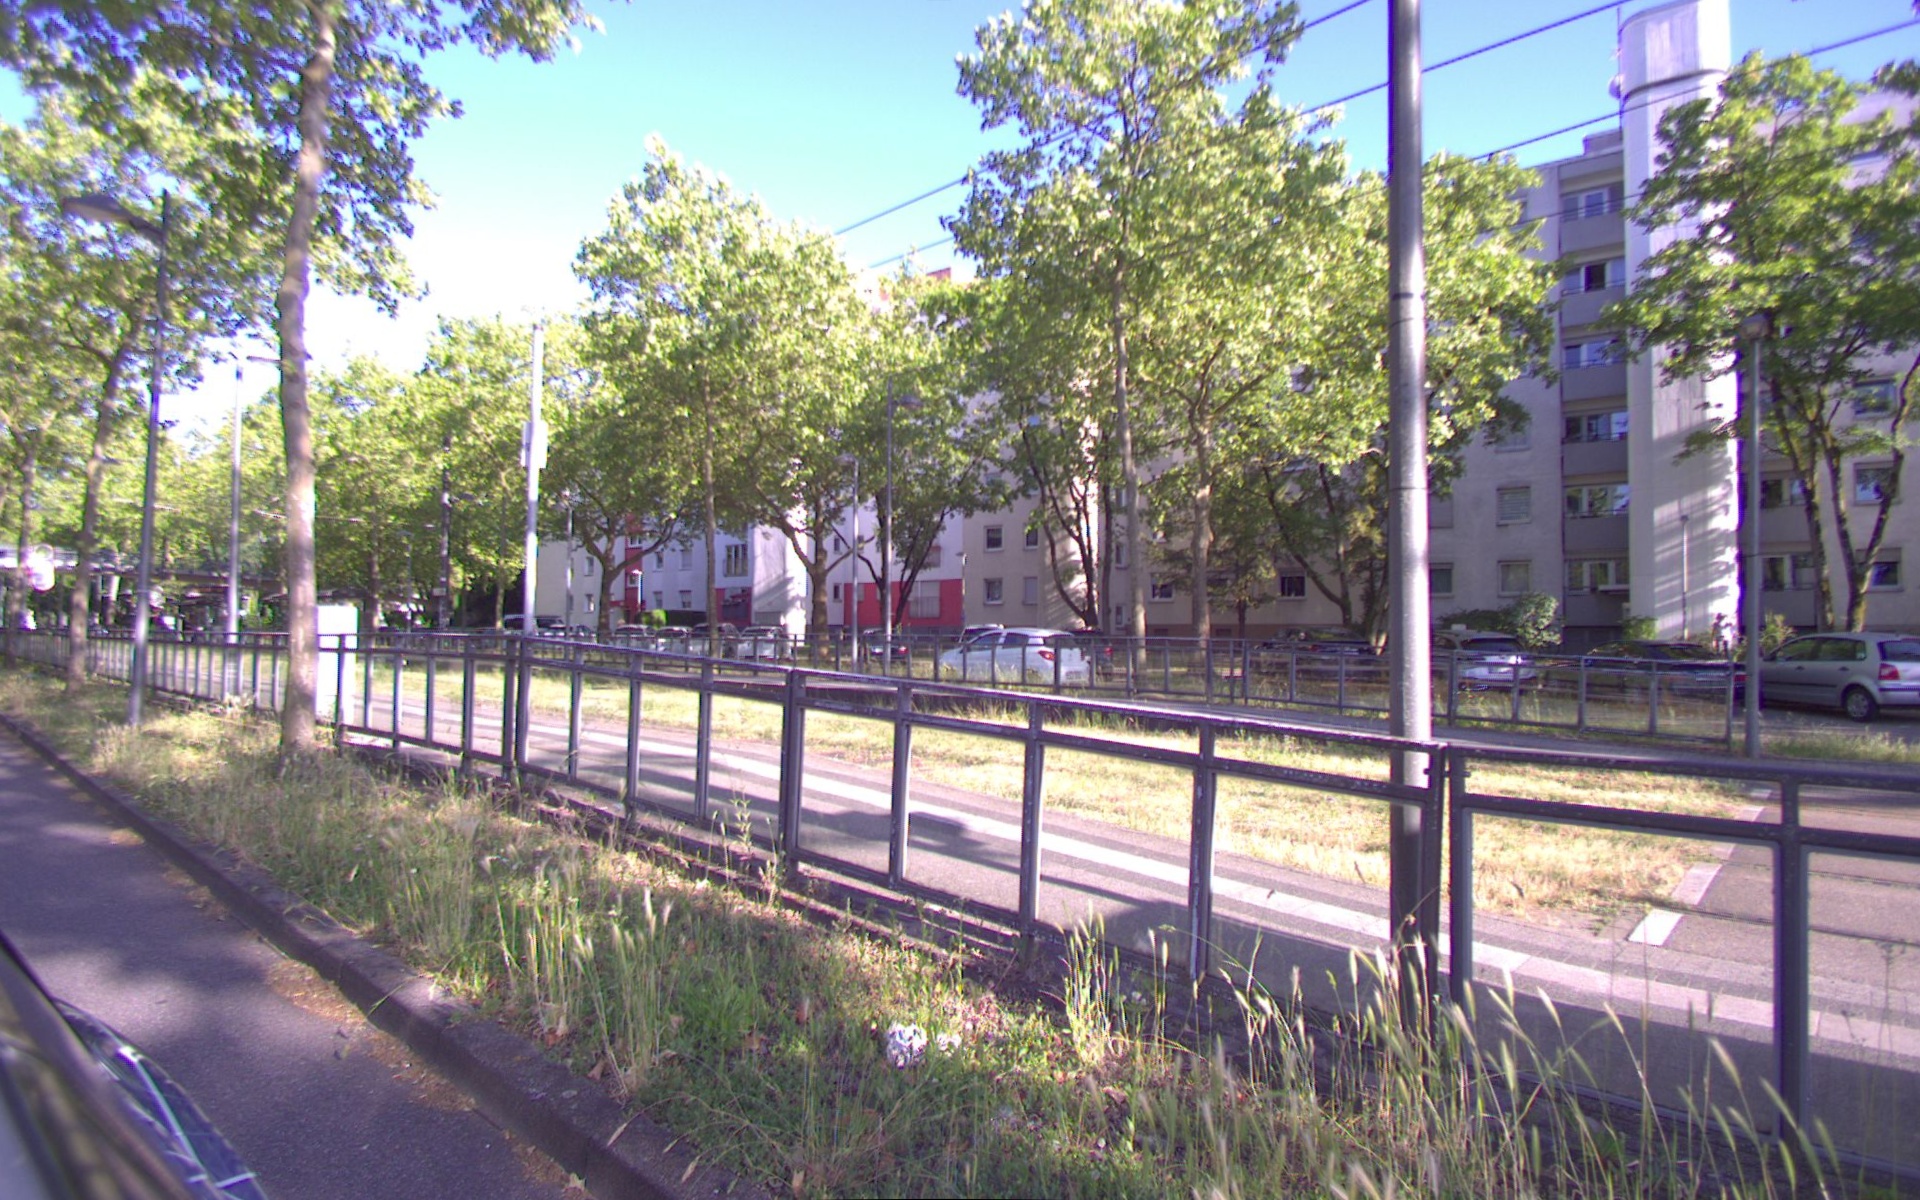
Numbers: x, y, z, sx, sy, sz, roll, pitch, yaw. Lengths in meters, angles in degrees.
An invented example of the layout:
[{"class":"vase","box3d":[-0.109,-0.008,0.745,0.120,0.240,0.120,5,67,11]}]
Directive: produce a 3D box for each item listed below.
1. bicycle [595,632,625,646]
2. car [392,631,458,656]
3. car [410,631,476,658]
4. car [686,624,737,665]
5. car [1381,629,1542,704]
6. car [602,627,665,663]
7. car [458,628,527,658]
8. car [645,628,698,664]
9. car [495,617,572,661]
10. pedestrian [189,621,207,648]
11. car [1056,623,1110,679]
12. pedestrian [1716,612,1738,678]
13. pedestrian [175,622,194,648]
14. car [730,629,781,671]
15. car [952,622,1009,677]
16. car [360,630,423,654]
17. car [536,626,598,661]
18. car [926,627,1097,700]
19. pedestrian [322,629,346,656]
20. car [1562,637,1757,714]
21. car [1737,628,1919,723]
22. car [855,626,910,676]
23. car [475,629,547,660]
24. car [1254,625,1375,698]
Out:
[{"class":"bicycle","box3d":[-24.683,2.730,71.391,2.592,0.935,0.688,-3,-2,39]},{"class":"car","box3d":[-33.089,2.664,62.692,1.678,1.439,4.196,-2,-1,3]},{"class":"car","box3d":[-31.001,2.628,60.801,1.678,1.439,4.196,-2,-1,3]},{"class":"car","box3d":[-10.177,1.816,41.709,1.551,1.580,4.066,-1,-2,-7]},{"class":"car","box3d":[10.614,1.355,21.689,1.516,1.437,3.388,0,-1,-5]},{"class":"car","box3d":[-14.753,2.001,45.951,1.870,1.515,4.506,-1,-2,-7]},{"class":"car","box3d":[-26.297,2.400,57.090,1.873,1.509,4.500,-2,-1,0]},{"class":"car","box3d":[-12.501,1.965,44.022,1.551,1.443,4.066,-1,-2,-7]},{"class":"car","box3d":[-21.723,1.955,51.749,1.875,2.079,4.495,-2,-1,3]},{"class":"pedestrian","box3d":[-46.848,2.109,62.221,0.715,1.647,0.721,-1,-3,40]},{"class":"car","box3d":[3.618,1.447,29.410,1.448,1.520,3.375,-1,-2,8]},{"class":"pedestrian","box3d":[21.427,1.249,28.273,0.449,1.805,0.315,-1,-2,36]},{"class":"pedestrian","box3d":[-47.503,2.142,61.979,0.681,1.525,0.638,-1,-3,29]},{"class":"car","box3d":[-7.806,1.874,38.885,1.551,1.485,4.066,-1,-2,-7]},{"class":"car","box3d":[0.605,1.488,31.432,1.623,1.556,3.992,-1,-2,0]},{"class":"car","box3d":[-37.859,2.753,67.518,1.678,1.439,4.196,-2,-1,3]},{"class":"car","box3d":[-19.402,2.131,50.118,1.665,1.623,4.061,-1,-2,-2]},{"class":"car","box3d":[1.114,1.373,22.972,3.717,1.460,1.614,-1,-1,42]},{"class":"pedestrian","box3d":[-27.383,1.846,44.269,0.662,1.136,0.687,-1,-5,43]},{"class":"car","box3d":[13.228,1.385,19.384,1.445,1.263,3.382,0,-1,2]},{"class":"car","box3d":[15.632,1.241,17.671,1.549,1.442,3.287,-1,-1,-1]},{"class":"car","box3d":[-2.661,1.676,34.089,1.621,1.556,4.181,-1,-2,-7]},{"class":"car","box3d":[-24.007,2.353,54.311,1.873,1.509,4.500,-2,-1,0]},{"class":"car","box3d":[8.180,1.374,23.622,1.442,1.559,3.142,-1,-2,-5]}]
